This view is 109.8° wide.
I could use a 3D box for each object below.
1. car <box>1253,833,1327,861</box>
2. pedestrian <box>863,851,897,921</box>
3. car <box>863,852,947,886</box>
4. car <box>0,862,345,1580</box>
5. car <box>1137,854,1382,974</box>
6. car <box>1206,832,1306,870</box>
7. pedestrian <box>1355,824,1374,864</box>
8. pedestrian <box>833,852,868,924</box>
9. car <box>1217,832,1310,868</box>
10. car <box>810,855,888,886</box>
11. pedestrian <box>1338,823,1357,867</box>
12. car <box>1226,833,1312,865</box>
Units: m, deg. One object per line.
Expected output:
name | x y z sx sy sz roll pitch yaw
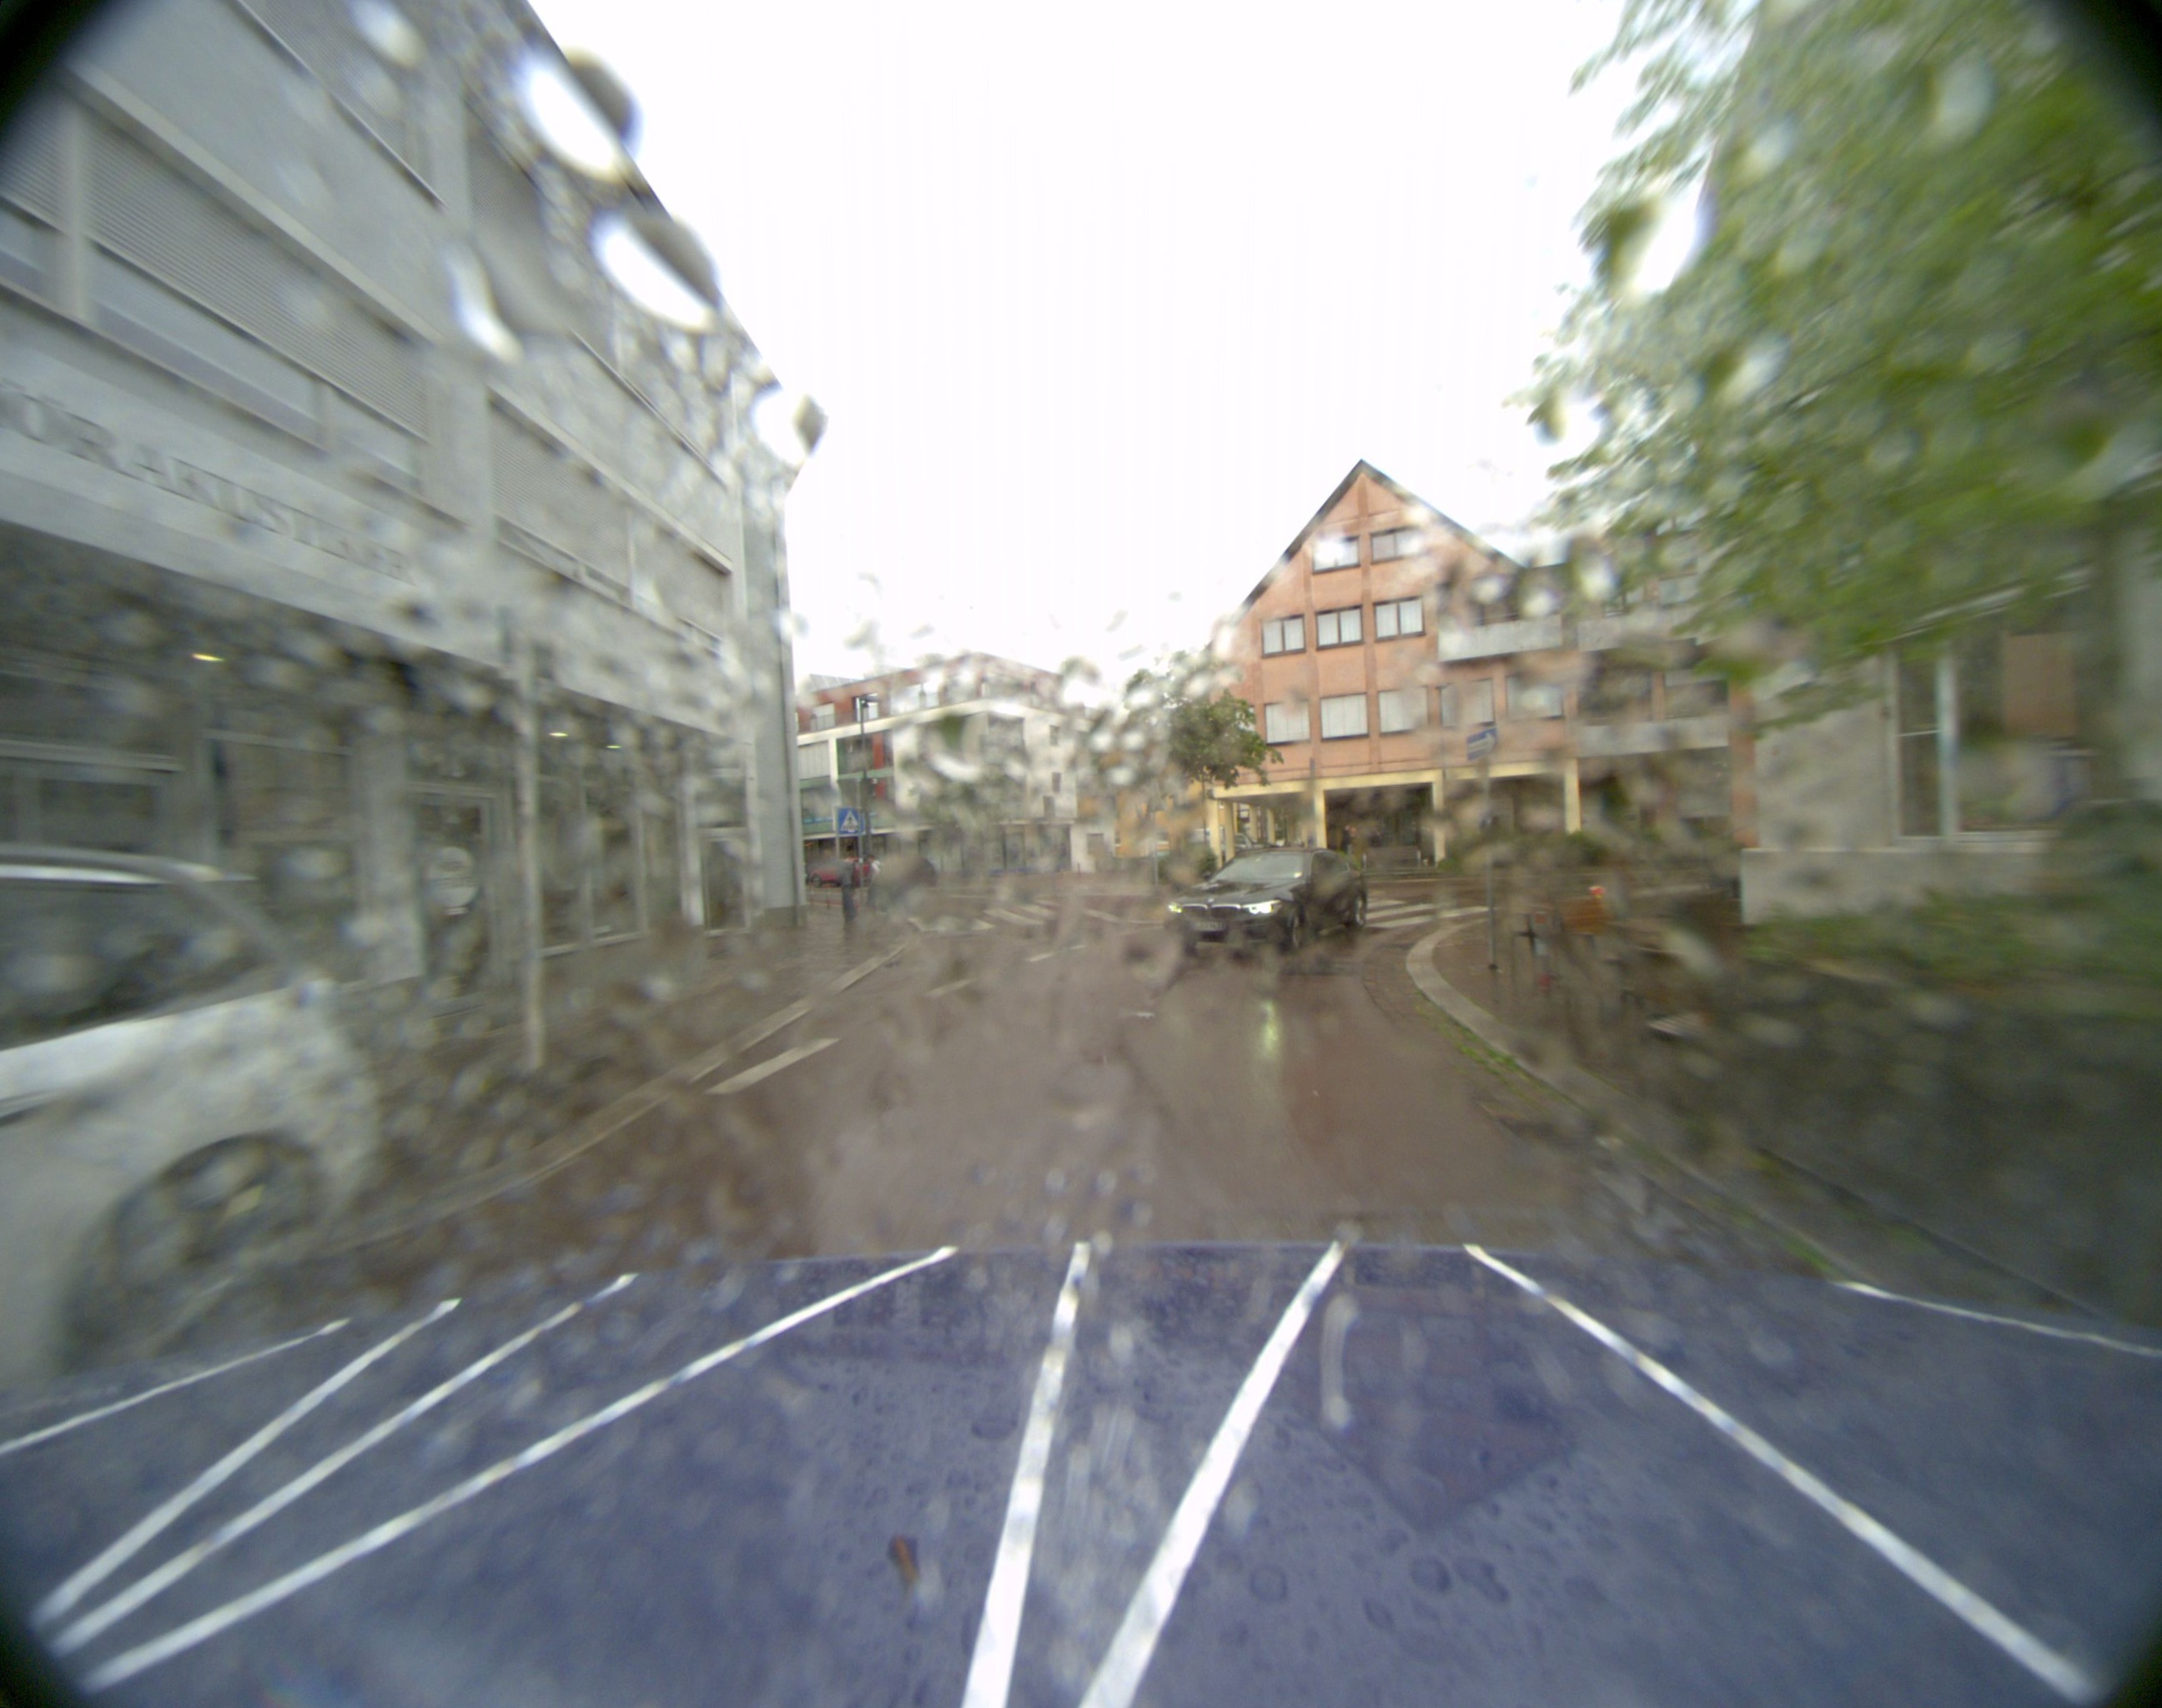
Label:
car | 12.247 -0.428 44.548 3.991 1.477 2.003 -2 1 20
pedestrian | -5.371 0.835 20.265 0.674 1.800 0.679 -3 1 -28
car | -9.011 0.764 38.885 3.990 1.565 1.722 -2 1 28
car | -3.351 0.919 0.482 1.695 1.680 4.276 -2 1 -4
car | 3.084 0.805 12.189 1.995 1.398 4.903 -3 0 36
car | 7.650 -0.124 33.153 3.991 1.477 2.003 -2 1 20
pedestrian | 10.497 -0.378 28.099 0.586 1.430 0.480 -2 1 23
pedestrian | -5.909 0.861 19.506 0.700 1.800 0.510 -3 1 -28
car | 8.559 -0.185 35.517 3.991 1.477 2.003 -2 1 20
car | -12.770 0.891 41.731 3.990 1.565 1.722 -2 1 28
pedestrian | 9.926 -0.345 28.331 0.586 1.623 0.480 -2 1 23
car | 9.605 -0.261 38.691 3.991 1.477 2.003 -2 1 20
